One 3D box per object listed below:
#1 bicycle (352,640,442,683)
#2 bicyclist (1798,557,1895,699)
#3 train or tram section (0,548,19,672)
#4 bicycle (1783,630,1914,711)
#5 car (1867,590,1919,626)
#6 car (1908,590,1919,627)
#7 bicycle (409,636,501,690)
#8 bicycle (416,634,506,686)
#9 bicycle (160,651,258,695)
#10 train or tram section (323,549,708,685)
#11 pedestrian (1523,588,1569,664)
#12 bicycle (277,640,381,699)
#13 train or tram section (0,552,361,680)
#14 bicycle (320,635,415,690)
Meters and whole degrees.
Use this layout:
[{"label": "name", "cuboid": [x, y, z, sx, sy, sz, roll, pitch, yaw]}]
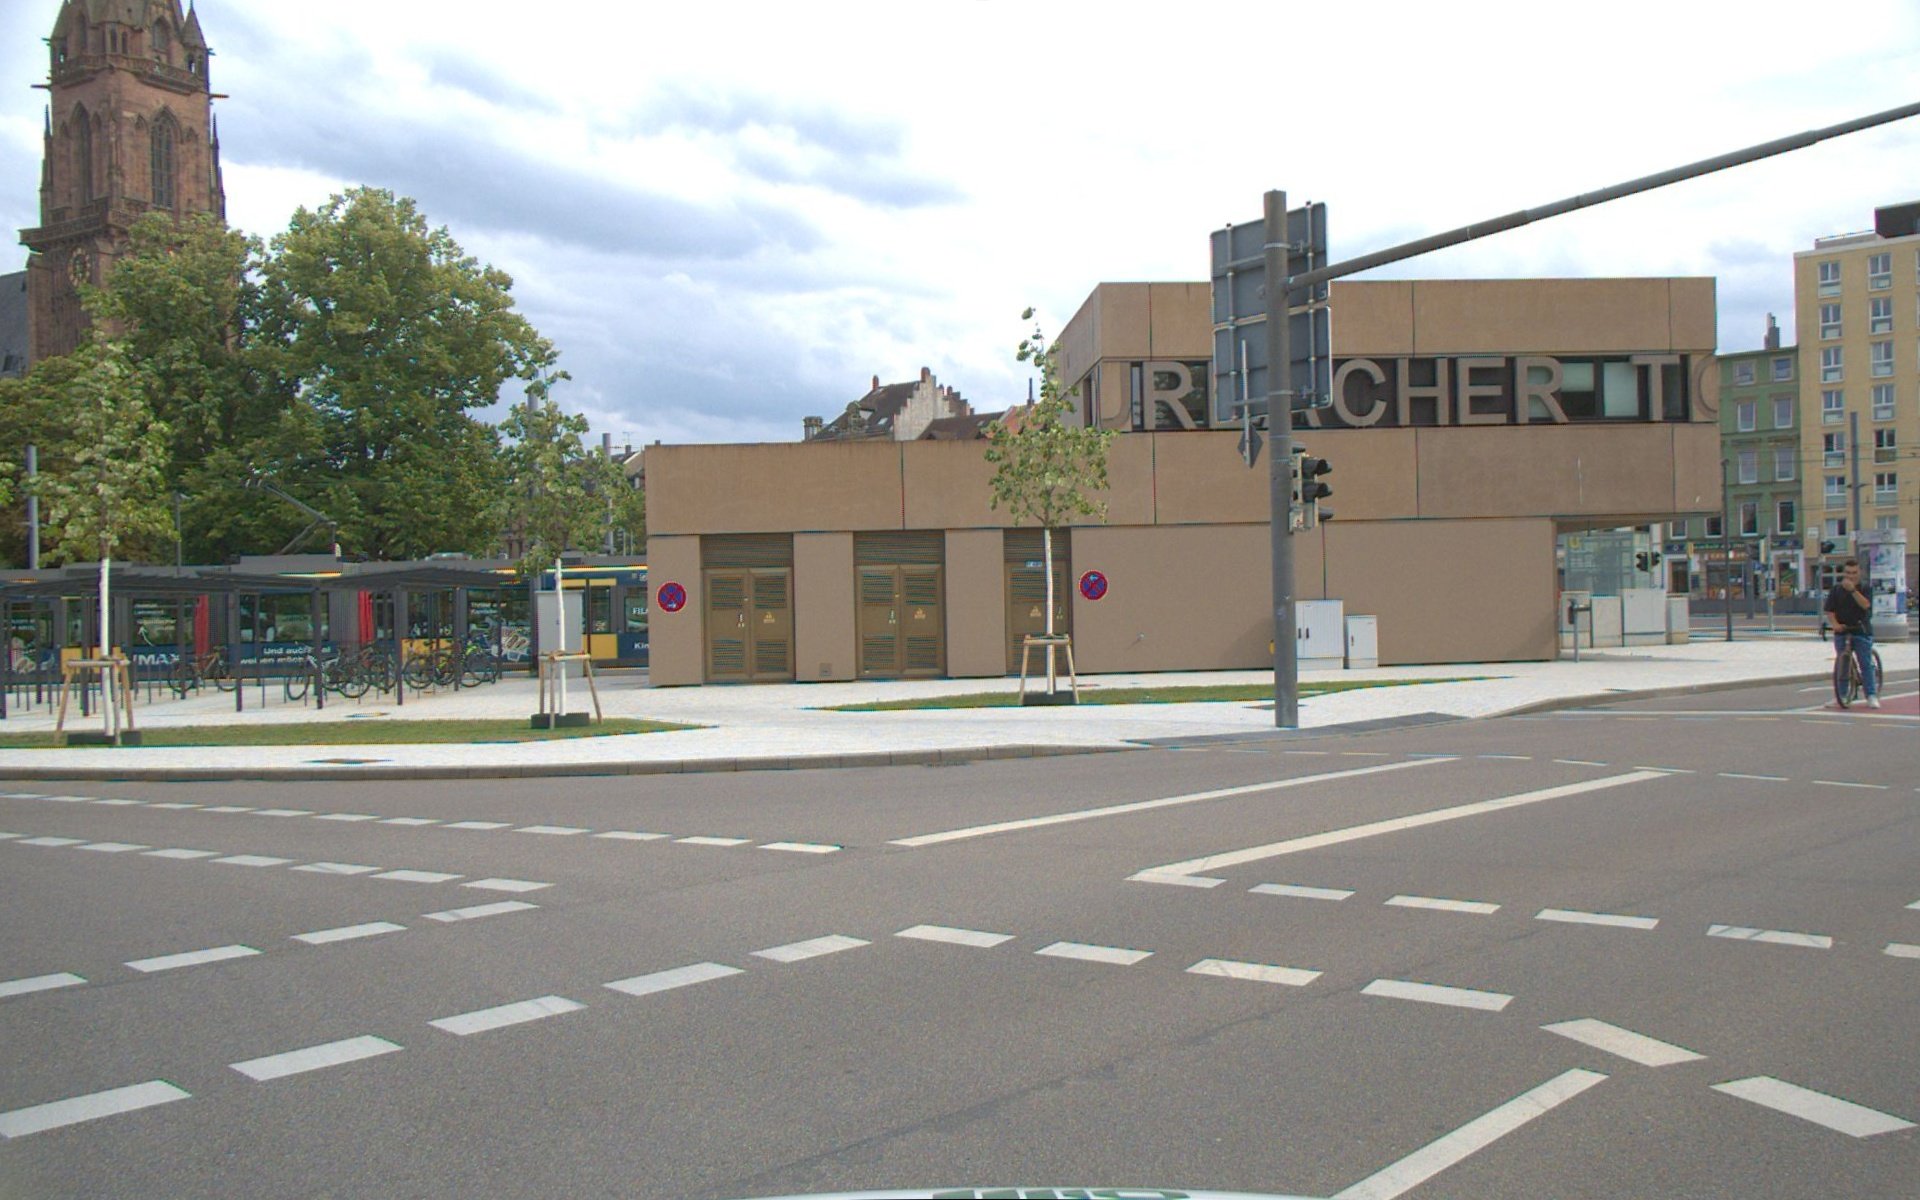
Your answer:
[{"label": "bicycle", "cuboid": [-13.349, 1.457, 39.264, 1.923, 0.987, 0.583, 1, 0, -7]}, {"label": "bicyclist", "cuboid": [10.902, 0.326, 20.345, 0.854, 1.698, 0.875, 1, 0, 43]}, {"label": "train or tram section", "cuboid": [-30.432, 0.232, 43.754, 9.155, 3.334, 3.060, 1, 0, -5]}, {"label": "bicycle", "cuboid": [11.018, 0.840, 20.464, 0.850, 0.892, 2.503, 1, 1, 42]}, {"label": "car", "cuboid": [54.111, 0.449, 95.714, 1.965, 2.049, 3.975, 1, 1, 42]}, {"label": "car", "cuboid": [55.766, 0.479, 94.454, 1.965, 2.049, 3.975, 1, 1, 42]}, {"label": "bicycle", "cuboid": [-11.258, 1.408, 36.909, 1.926, 1.176, 0.582, 1, 0, -13]}, {"label": "bicycle", "cuboid": [-11.551, 1.391, 38.332, 1.926, 1.176, 0.582, 1, 0, -13]}, {"label": "bicycle", "cuboid": [-17.066, 1.664, 37.622, 1.923, 0.971, 0.583, 1, 0, -7]}, {"label": "train or tram section", "cuboid": [-11.941, 0.441, 45.234, 9.703, 3.510, 3.060, 1, 0, -5]}, {"label": "pedestrian", "cuboid": [14.089, 0.629, 39.795, 0.793, 1.763, 0.780, -2, -2, 3]}, {"label": "bicycle", "cuboid": [-12.981, 1.417, 34.063, 1.926, 1.176, 0.582, 1, 0, -13]}, {"label": "train or tram section", "cuboid": [-21.299, 0.406, 44.502, 9.214, 3.269, 3.060, 1, 0, -5]}, {"label": "bicycle", "cuboid": [-13.177, 1.387, 36.842, 1.926, 1.176, 0.582, 1, 0, -13]}]
